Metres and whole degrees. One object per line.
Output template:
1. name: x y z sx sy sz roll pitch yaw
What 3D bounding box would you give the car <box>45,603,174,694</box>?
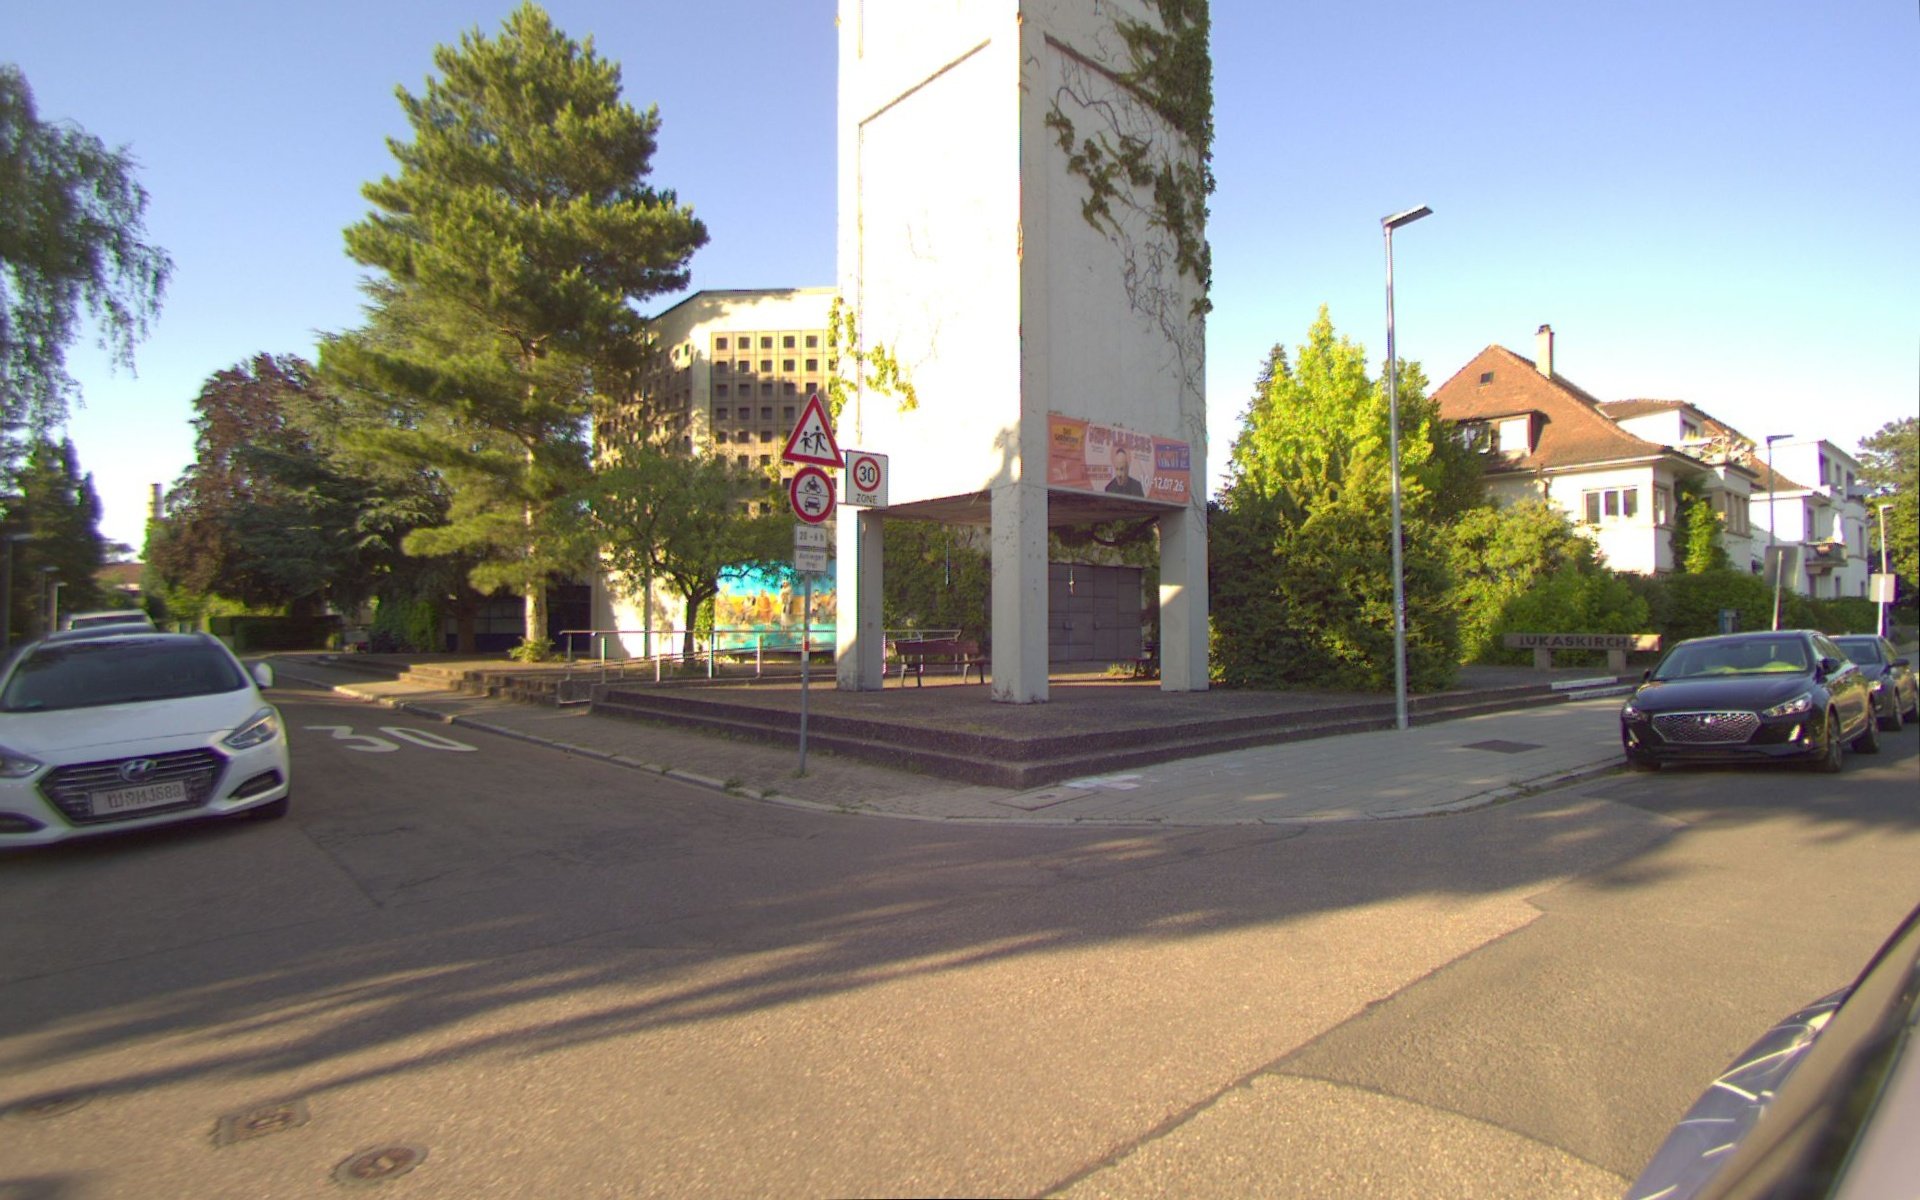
1. car: -21.534 1.131 25.544 2.139 1.997 5.005 -2 1 -44

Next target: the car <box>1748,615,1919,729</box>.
1. car: 13.938 1.113 15.799 4.100 1.548 1.689 3 -7 -41

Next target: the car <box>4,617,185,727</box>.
1. car: -13.793 1.075 16.354 1.963 1.530 4.125 1 -2 -38

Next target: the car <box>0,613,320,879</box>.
1. car: -6.856 0.945 8.321 1.968 1.504 4.854 -3 1 -41

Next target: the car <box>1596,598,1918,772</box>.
1. car: 9.060 0.930 11.362 4.539 1.582 1.824 2 -8 -40
